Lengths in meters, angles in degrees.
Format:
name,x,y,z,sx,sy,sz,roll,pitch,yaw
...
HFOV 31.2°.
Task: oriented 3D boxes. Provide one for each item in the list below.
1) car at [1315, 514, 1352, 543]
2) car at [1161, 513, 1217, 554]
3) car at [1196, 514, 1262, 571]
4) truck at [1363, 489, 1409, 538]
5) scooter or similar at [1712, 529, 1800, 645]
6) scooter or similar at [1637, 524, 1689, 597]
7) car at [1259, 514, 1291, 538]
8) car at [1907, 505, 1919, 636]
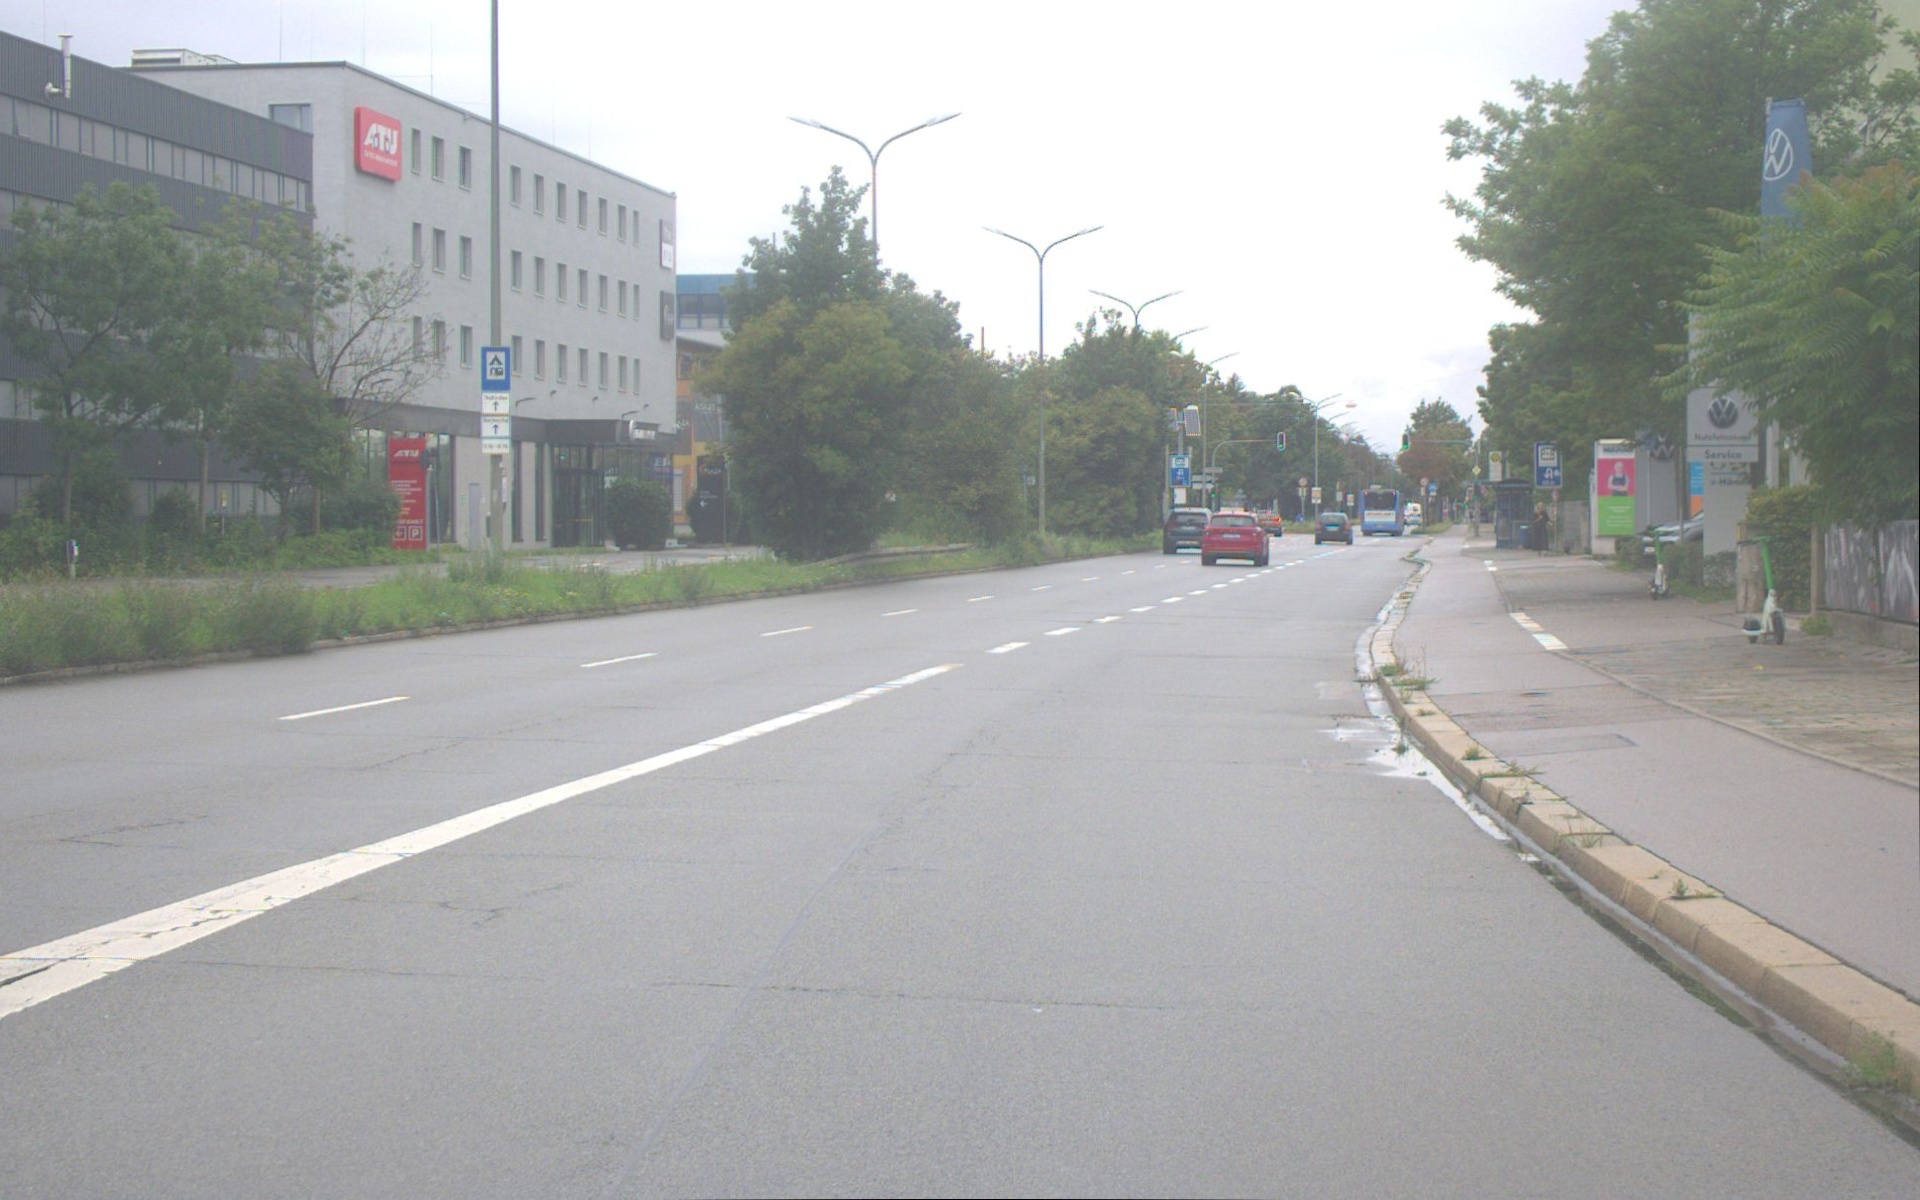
name,x,y,z,sx,sy,sz,roll,pitch,yaw
car,18.619,-3.562,171.281,1.804,1.428,3.999,0,1,7
car,8.259,-2.403,123.862,1.804,1.428,3.999,0,1,7
car,8.004,-1.707,101.943,1.862,1.612,3.999,1,1,5
truck,28.613,-5.808,231.198,2.970,3.274,7.914,0,1,7
scooter or similar,8.644,-0.141,37.366,0.397,1.219,1.640,-3,0,-5
scooter or similar,11.898,-0.675,58.201,0.496,1.200,1.430,-3,1,-1
car,19.262,-4.539,210.028,1.804,1.428,3.999,0,1,7
car,12.710,-0.336,38.220,4.015,1.455,1.793,0,1,8
